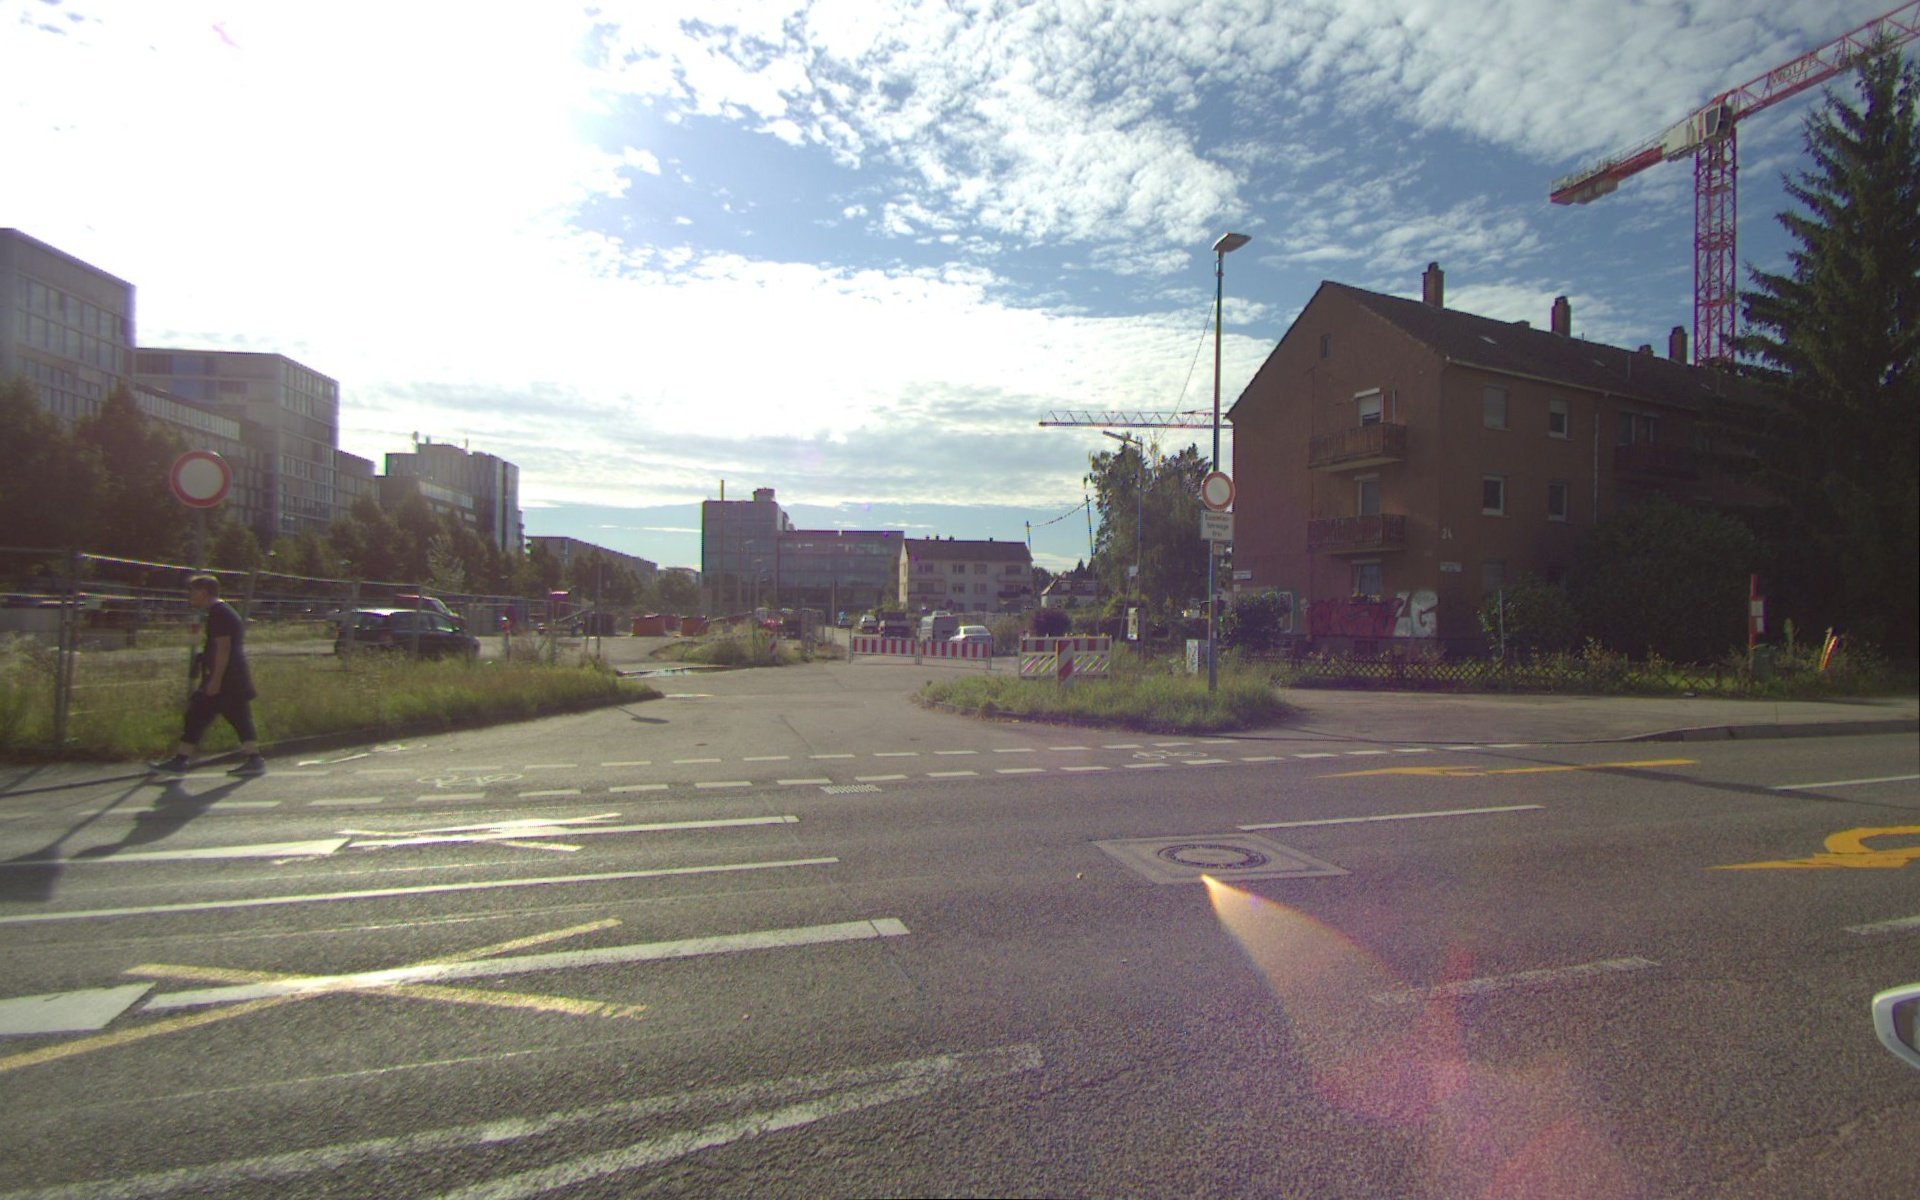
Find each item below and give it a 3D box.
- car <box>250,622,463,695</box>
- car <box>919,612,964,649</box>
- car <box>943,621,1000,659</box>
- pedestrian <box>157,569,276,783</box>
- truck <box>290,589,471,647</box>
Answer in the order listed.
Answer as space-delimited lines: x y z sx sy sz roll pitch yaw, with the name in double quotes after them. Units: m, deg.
-15.730 1.450 26.446 1.963 1.680 4.408 2 0 27 "car"
-1.180 1.856 62.009 1.966 1.977 3.988 0 2 -14 "car"
0.532 1.997 51.028 1.966 1.576 3.988 0 2 -14 "car"
-6.793 0.655 9.174 0.700 1.848 0.741 2 0 43 "pedestrian"
-32.099 0.992 55.960 7.966 2.892 3.357 2 0 -9 "truck"
